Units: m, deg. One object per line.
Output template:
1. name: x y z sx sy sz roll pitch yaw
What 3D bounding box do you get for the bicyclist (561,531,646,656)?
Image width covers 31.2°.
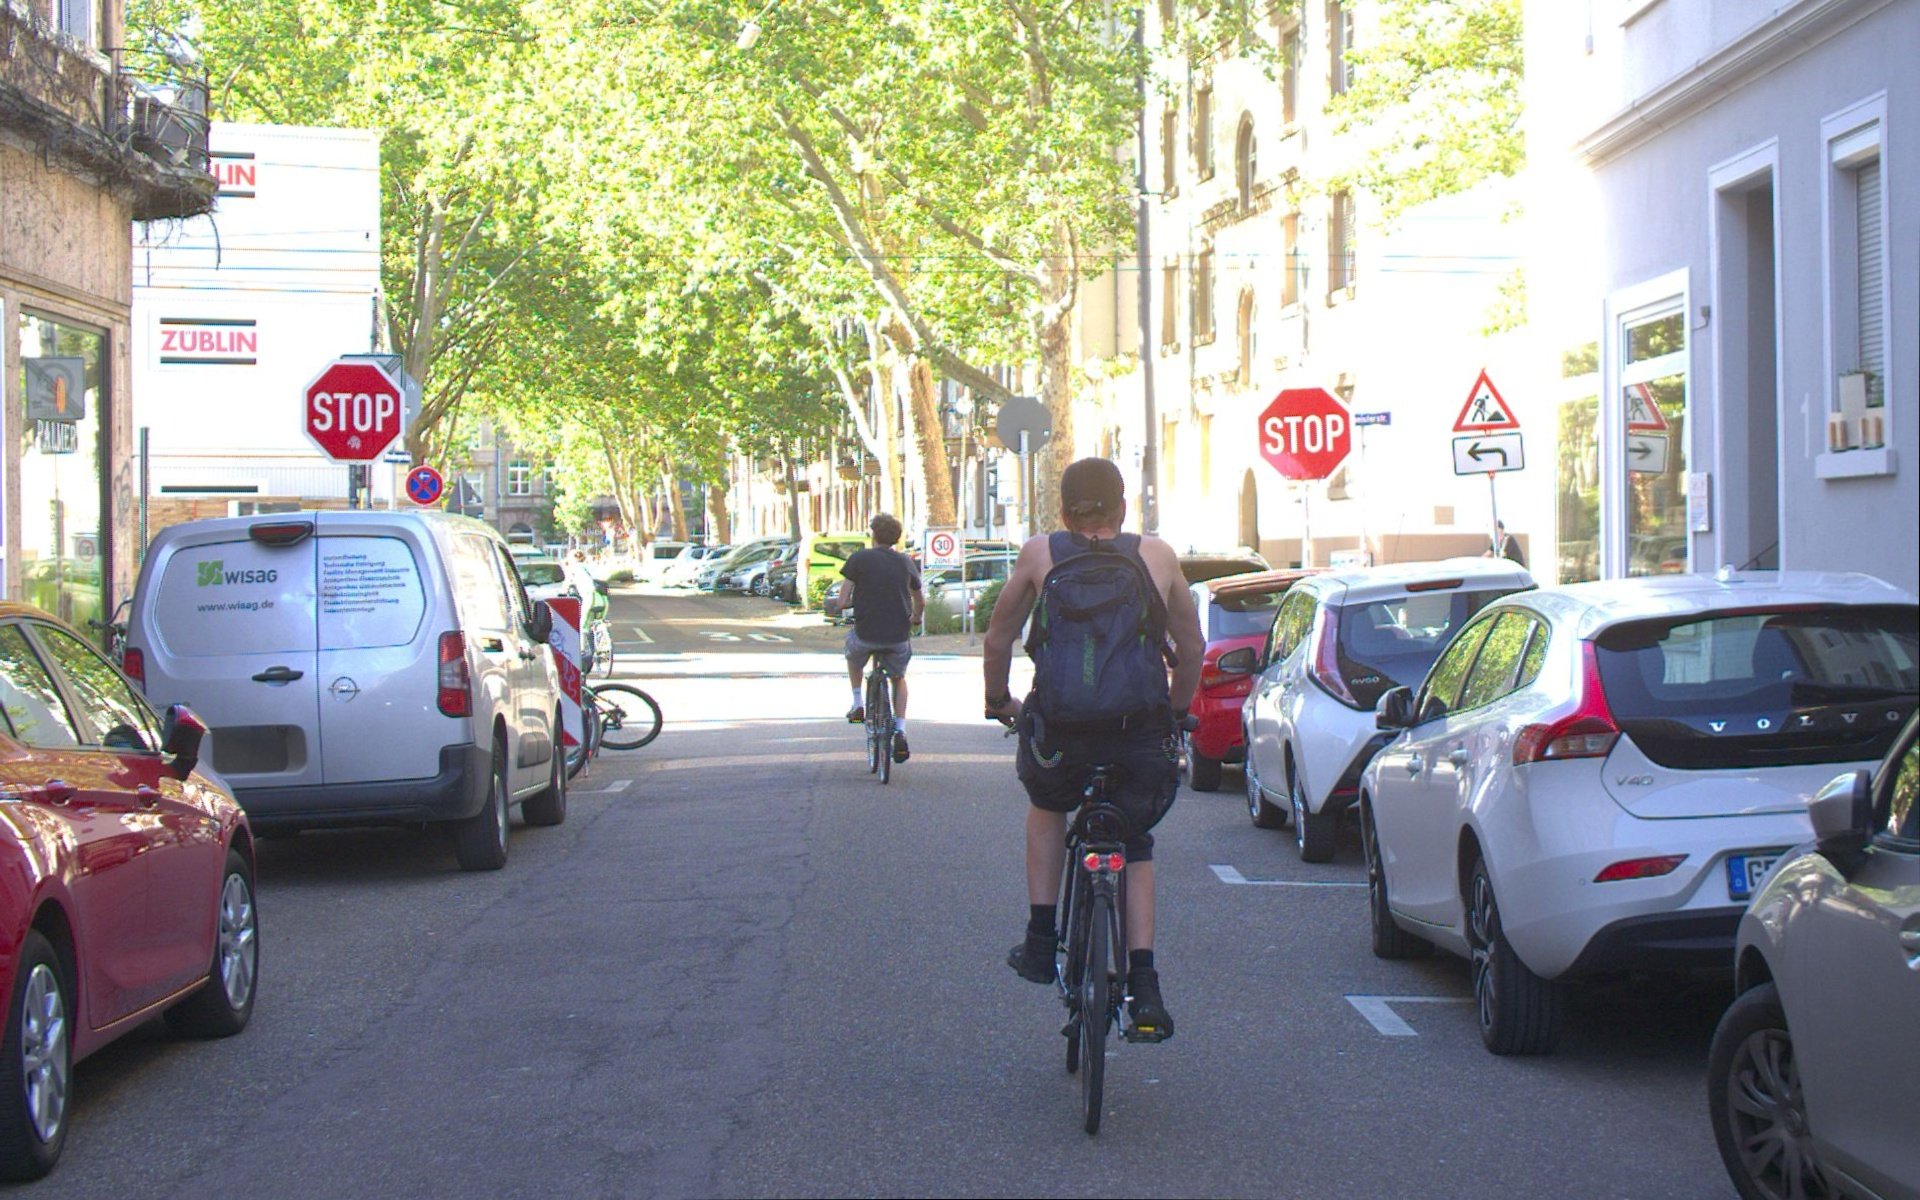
1. bicyclist: -4.758 -0.084 45.859 1.096 1.634 0.896 0 0 -7

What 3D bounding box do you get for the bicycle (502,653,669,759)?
1. bicycle: -3.011 0.850 27.616 1.308 0.815 0.371 -1 1 -10

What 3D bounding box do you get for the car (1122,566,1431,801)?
1. car: 2.181 0.535 24.656 1.645 1.498 3.955 1 1 -3

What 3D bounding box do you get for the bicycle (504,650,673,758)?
1. bicycle: -2.945 0.818 27.242 1.308 0.815 0.355 -1 1 -10

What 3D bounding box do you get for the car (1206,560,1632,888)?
1. car: 2.409 0.591 18.898 1.636 1.581 3.789 1 1 -3

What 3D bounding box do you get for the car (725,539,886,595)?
1. car: -4.461 -0.969 99.026 4.460 1.565 1.729 0 1 -9

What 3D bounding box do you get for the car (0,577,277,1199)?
1. car: -3.141 0.716 9.728 1.679 1.468 4.204 -2 1 -2

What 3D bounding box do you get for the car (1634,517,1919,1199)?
1. car: 2.468 0.665 6.319 1.679 1.592 4.190 1 1 1

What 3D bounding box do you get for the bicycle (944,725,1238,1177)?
1. bicycle: 0.321 0.907 9.480 0.689 1.013 1.907 1 1 -1

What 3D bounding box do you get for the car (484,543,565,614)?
1. car: -9.975 -0.508 78.531 1.665 1.557 4.001 0 1 -9

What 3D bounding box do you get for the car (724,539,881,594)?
1. car: -4.669 -0.993 101.496 4.460 1.565 1.729 0 1 -9

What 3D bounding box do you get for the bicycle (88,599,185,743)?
1. bicycle: -6.474 0.543 27.072 0.397 1.088 1.591 -1 0 -1

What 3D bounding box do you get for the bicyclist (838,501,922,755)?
1. bicyclist: -0.545 0.185 23.189 0.542 1.682 0.653 1 0 -2

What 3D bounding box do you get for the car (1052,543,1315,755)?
1. car: 1.839 0.362 29.524 1.760 1.656 4.198 1 1 -3

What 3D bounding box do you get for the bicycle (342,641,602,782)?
1. bicycle: -3.408 0.777 24.072 1.764 0.958 0.405 0 1 -2

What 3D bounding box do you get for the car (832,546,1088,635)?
1. car: -0.016 -0.184 62.761 4.460 1.565 1.729 0 1 -9

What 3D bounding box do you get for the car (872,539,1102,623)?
1. car: 0.529 -0.404 69.804 4.460 1.665 1.729 0 1 -9

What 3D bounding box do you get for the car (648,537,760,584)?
1. car: -10.538 -1.623 141.549 4.460 1.891 1.729 0 1 -9

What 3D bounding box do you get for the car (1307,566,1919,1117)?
1. car: 2.316 0.663 11.745 1.679 1.505 4.190 1 1 -2

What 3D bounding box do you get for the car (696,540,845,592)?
1. car: -5.866 -1.048 106.148 4.460 1.565 1.729 0 1 -9

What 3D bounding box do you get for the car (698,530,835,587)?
1. car: -6.539 -1.409 115.781 4.460 1.891 1.729 0 1 -9

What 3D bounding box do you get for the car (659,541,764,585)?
1. car: -10.874 -1.630 150.444 4.460 1.891 1.729 0 1 -9

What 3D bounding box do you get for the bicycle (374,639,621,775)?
1. bicycle: -3.425 0.782 25.459 1.764 0.958 0.481 -1 1 -13

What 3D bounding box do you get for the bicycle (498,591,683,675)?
1. bicycle: -4.932 0.440 45.834 2.422 1.089 0.896 0 0 -7

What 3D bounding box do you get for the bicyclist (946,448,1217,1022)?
1. bicyclist: 0.320 0.353 9.432 0.676 1.508 0.669 1 1 -1

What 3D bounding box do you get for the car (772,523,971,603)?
1. car: -2.088 -0.871 80.612 4.460 1.830 1.729 0 1 -9

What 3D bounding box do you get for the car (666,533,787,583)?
1. car: -8.911 -1.609 131.179 4.460 1.891 1.729 0 1 -9

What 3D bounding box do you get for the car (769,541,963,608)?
1. car: -2.271 -0.630 82.626 4.460 1.565 1.729 0 1 -9

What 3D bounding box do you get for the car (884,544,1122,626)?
1. car: 0.823 -0.306 67.738 4.460 1.565 1.729 0 1 -9

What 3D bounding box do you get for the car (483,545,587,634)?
1. car: -7.774 -0.225 62.701 1.643 1.489 4.001 -3 1 -9

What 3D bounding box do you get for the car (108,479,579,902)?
1. car: -3.158 0.396 18.487 1.679 1.903 4.519 -3 1 -1

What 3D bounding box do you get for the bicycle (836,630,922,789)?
1. bicycle: -0.552 0.722 23.251 0.551 1.013 1.628 1 0 -2
